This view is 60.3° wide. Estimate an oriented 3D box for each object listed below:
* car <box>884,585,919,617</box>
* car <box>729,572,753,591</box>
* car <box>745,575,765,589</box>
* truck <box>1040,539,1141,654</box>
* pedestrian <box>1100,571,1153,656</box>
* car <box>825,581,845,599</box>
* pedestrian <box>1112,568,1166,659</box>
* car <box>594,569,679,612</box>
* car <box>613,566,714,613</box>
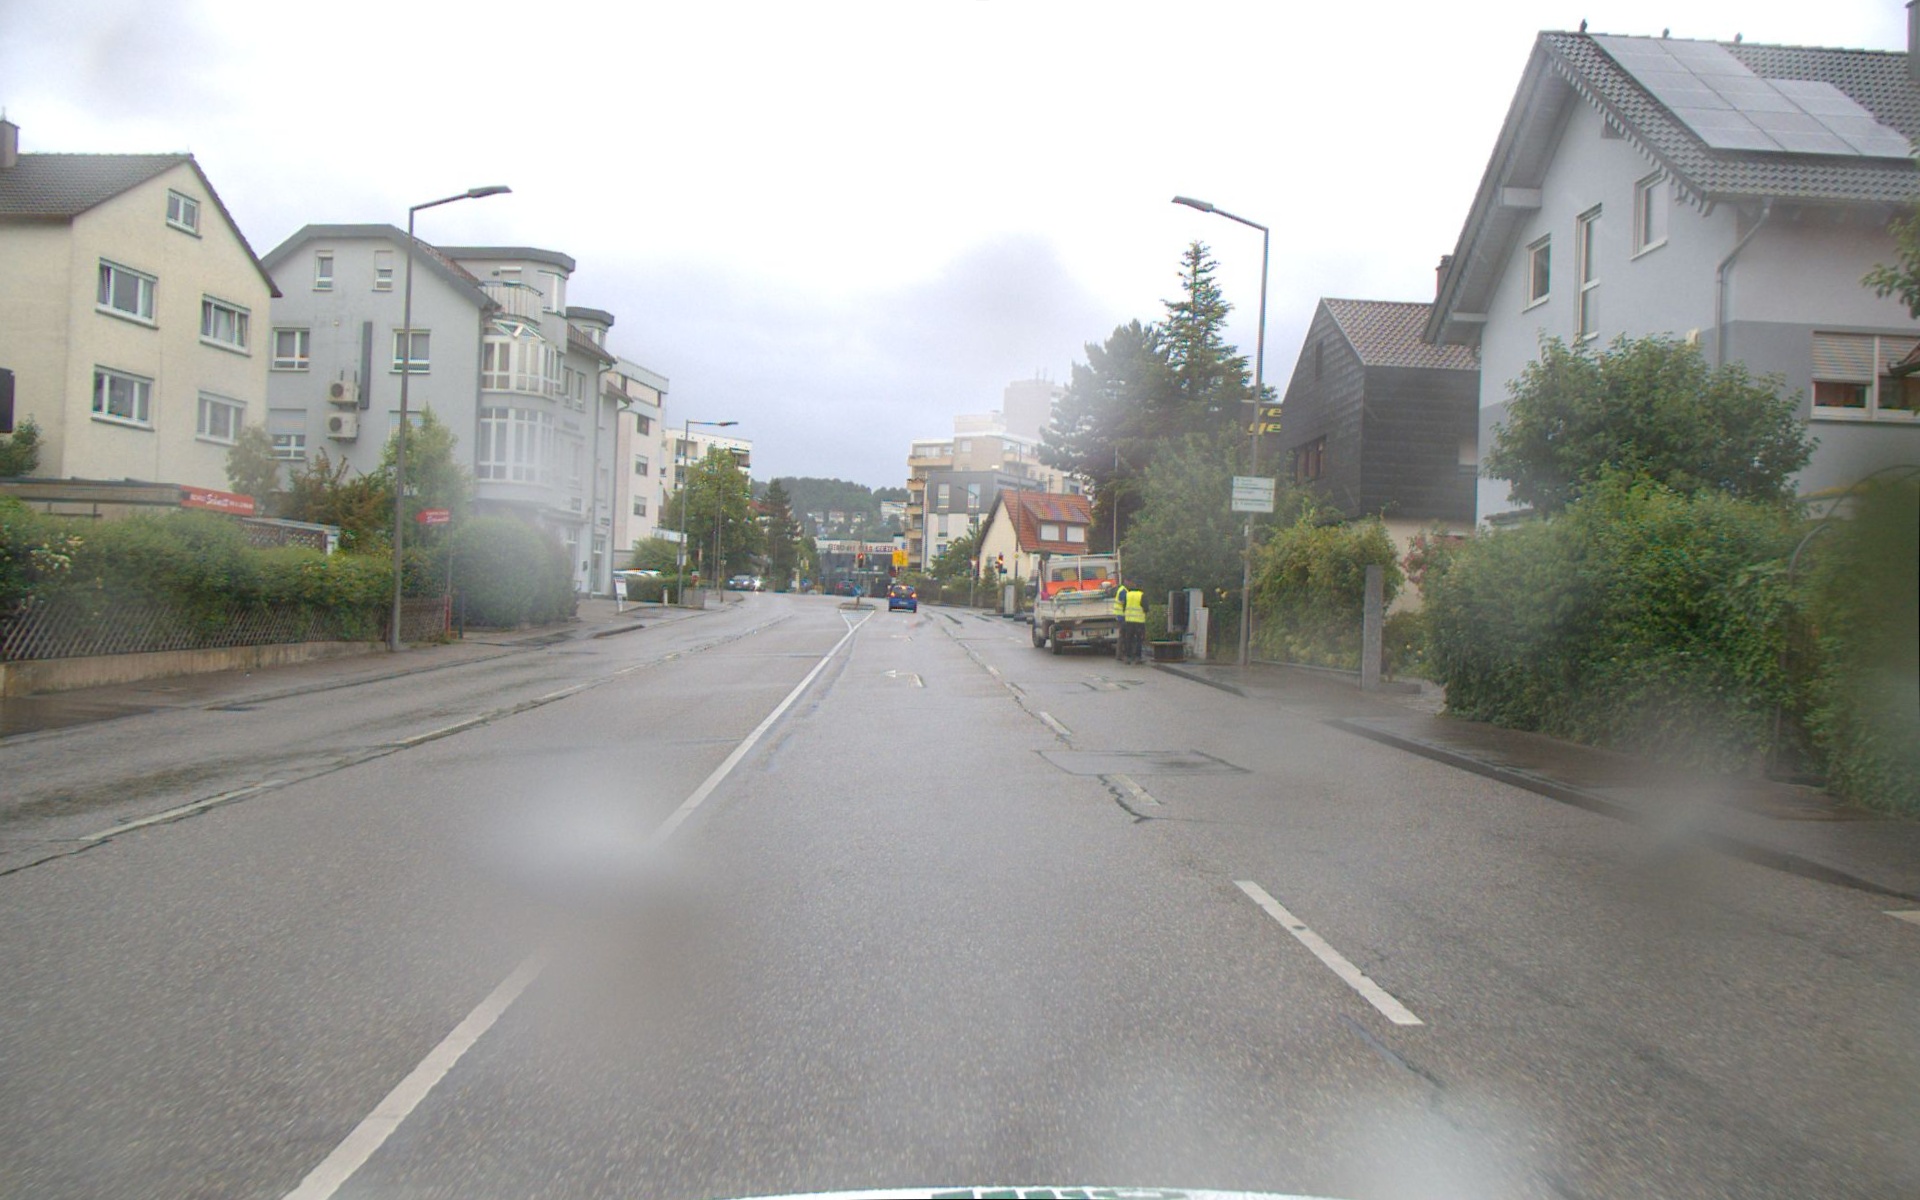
[{"bbox_3d":[-3.315,0.060,94.026,1.758,1.698,4.000,3,0,0],"label":"car"},{"bbox_3d":[-19.967,-1.658,150.999,1.627,1.488,3.999,6,-1,-1],"label":"car"},{"bbox_3d":[-19.704,-1.689,158.932,1.409,1.256,3.999,3,0,-1],"label":"car"},{"bbox_3d":[2.972,-0.045,38.543,1.953,2.343,4.001,6,-1,2],"label":"truck"},{"bbox_3d":[3.503,0.279,34.813,0.810,1.756,0.837,1,0,-19],"label":"pedestrian"},{"bbox_3d":[-11.863,-0.905,156.624,1.548,1.462,3.999,6,-1,-1],"label":"car"},{"bbox_3d":[3.664,0.278,33.952,0.811,1.828,0.796,1,0,-20],"label":"pedestrian"},{"bbox_3d":[-17.136,-0.514,87.737,3.902,2.048,2.002,3,0,9],"label":"car"},{"bbox_3d":[-14.792,-0.521,82.528,4.426,2.048,2.002,3,0,13],"label":"car"}]
